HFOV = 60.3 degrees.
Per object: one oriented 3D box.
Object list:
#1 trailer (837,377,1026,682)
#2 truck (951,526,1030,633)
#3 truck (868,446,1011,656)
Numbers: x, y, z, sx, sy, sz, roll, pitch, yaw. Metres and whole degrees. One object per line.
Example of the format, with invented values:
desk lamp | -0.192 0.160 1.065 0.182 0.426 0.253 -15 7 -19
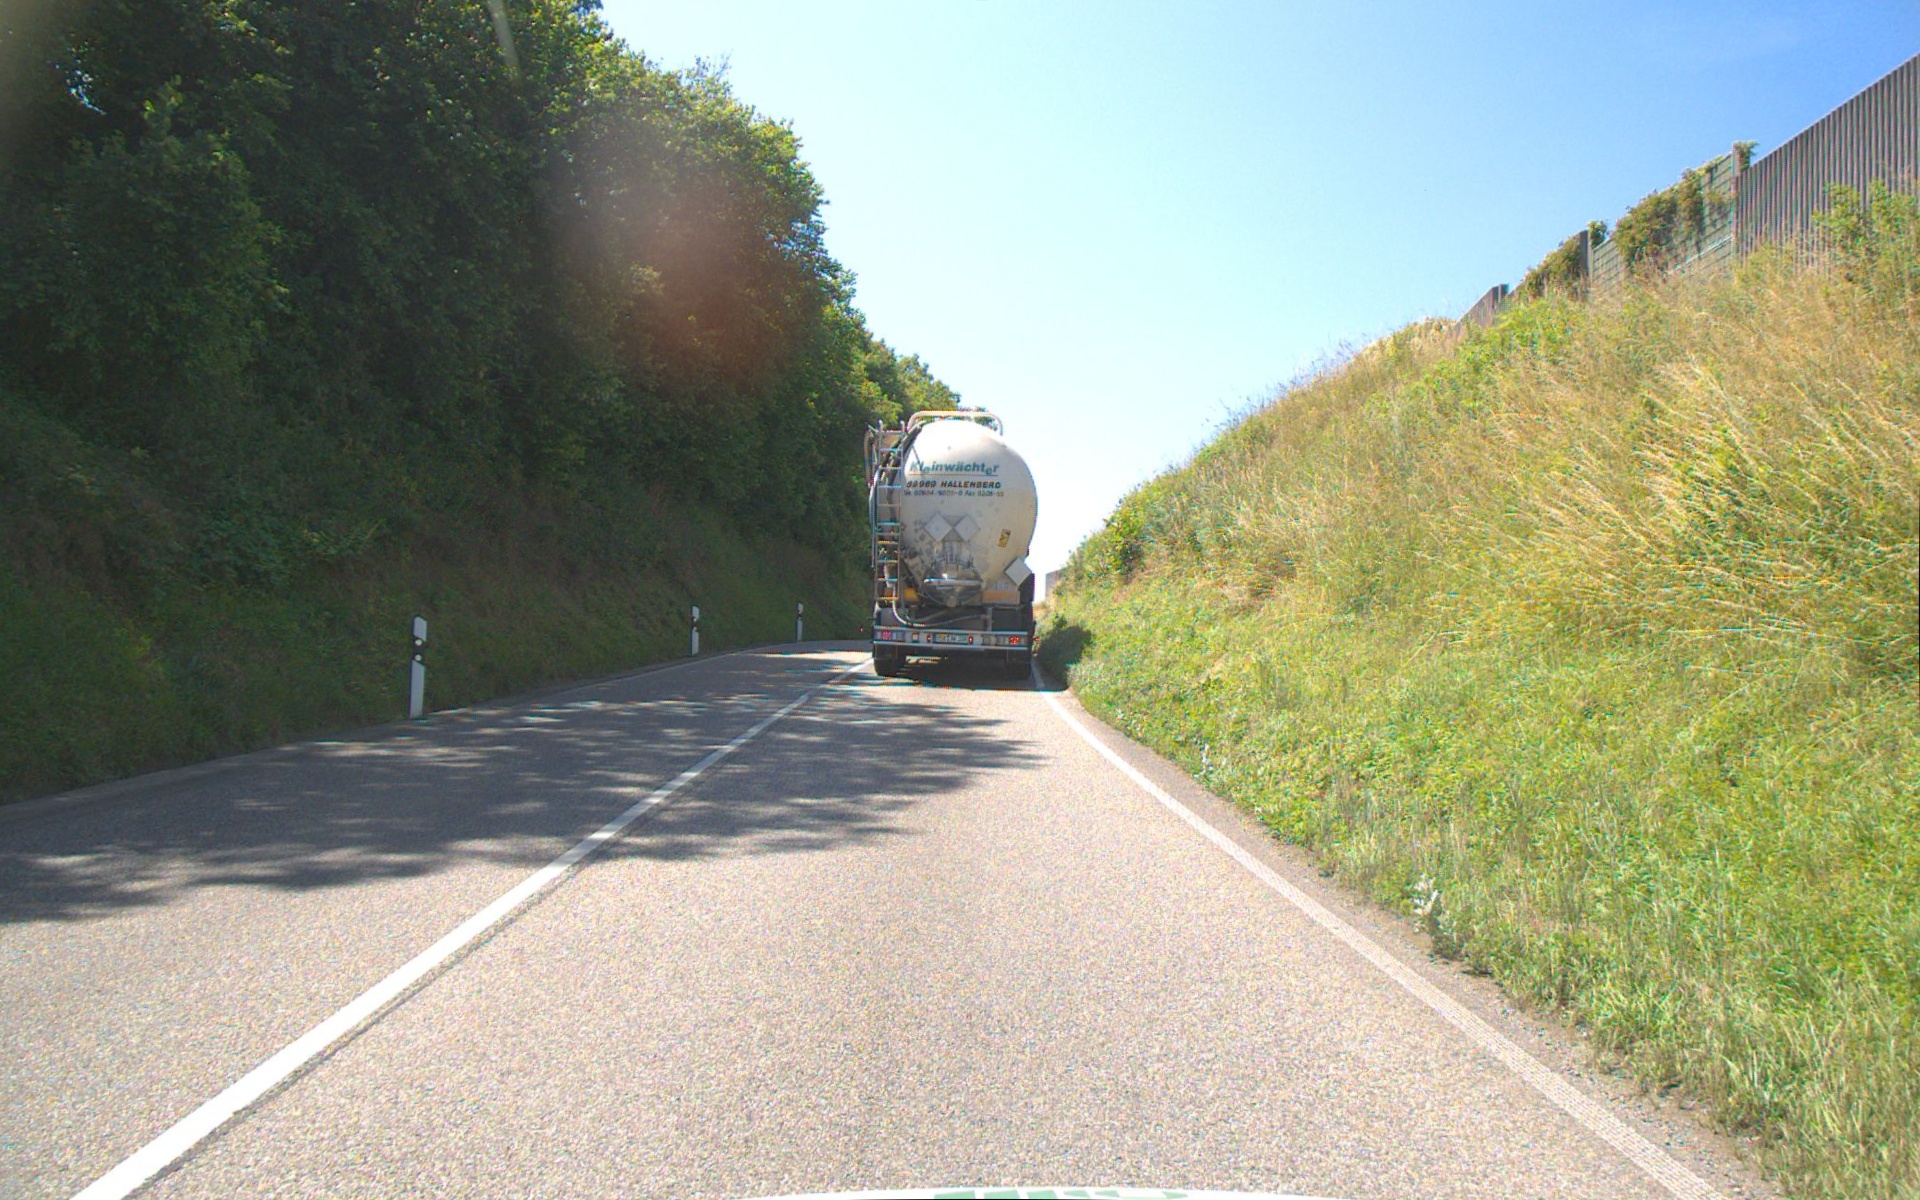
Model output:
trailer | -0.347 -1.047 29.238 2.606 4.262 11.905 1 1 0
truck | 1.450 -0.880 76.970 3.125 4.384 11.801 4 0 1
truck | -0.277 -0.944 35.128 2.670 3.998 7.265 0 0 2
